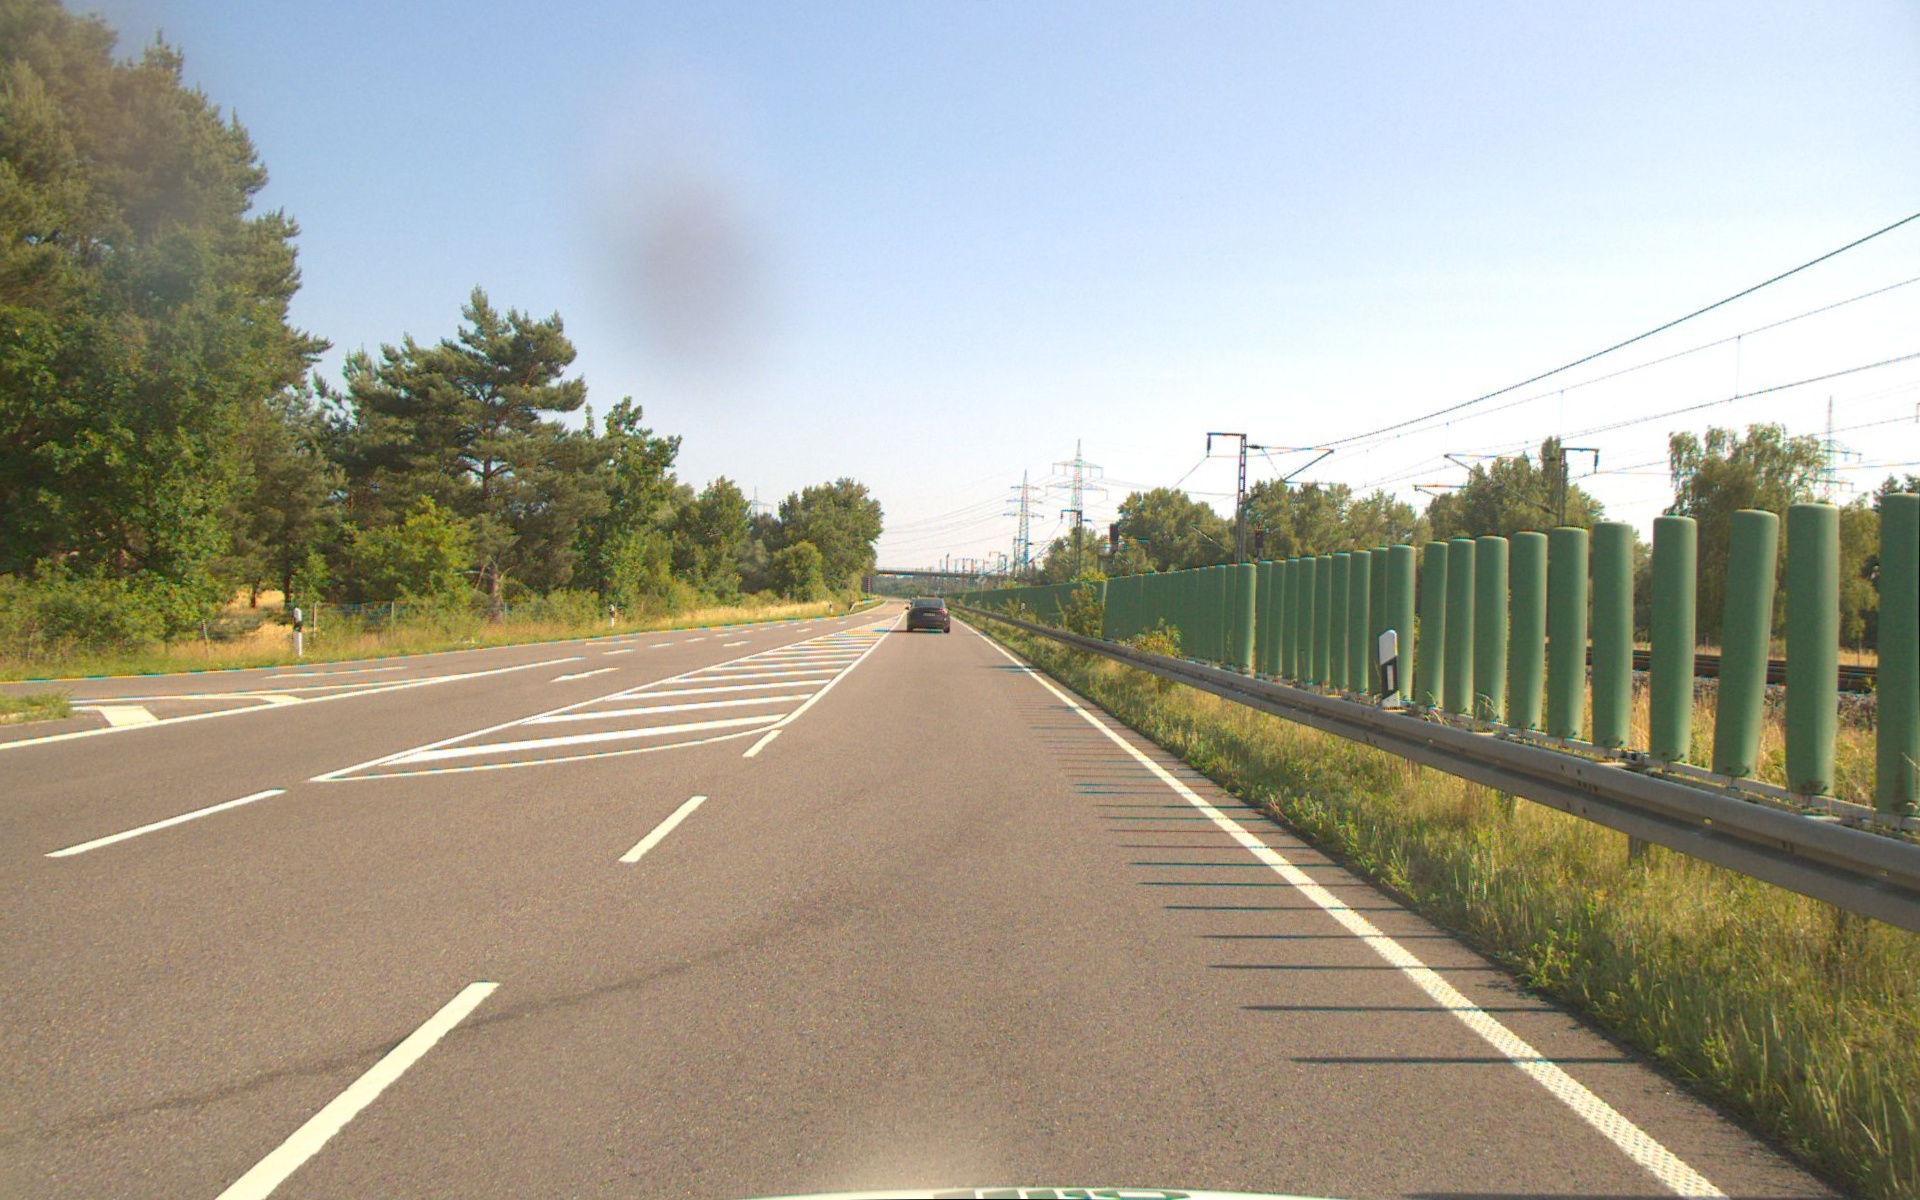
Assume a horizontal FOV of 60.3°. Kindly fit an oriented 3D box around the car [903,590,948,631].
[{"bbox_3d":[-1.444,0.410,69.897,1.821,1.670,3.999,0,0,-1],"label":"car"}]
